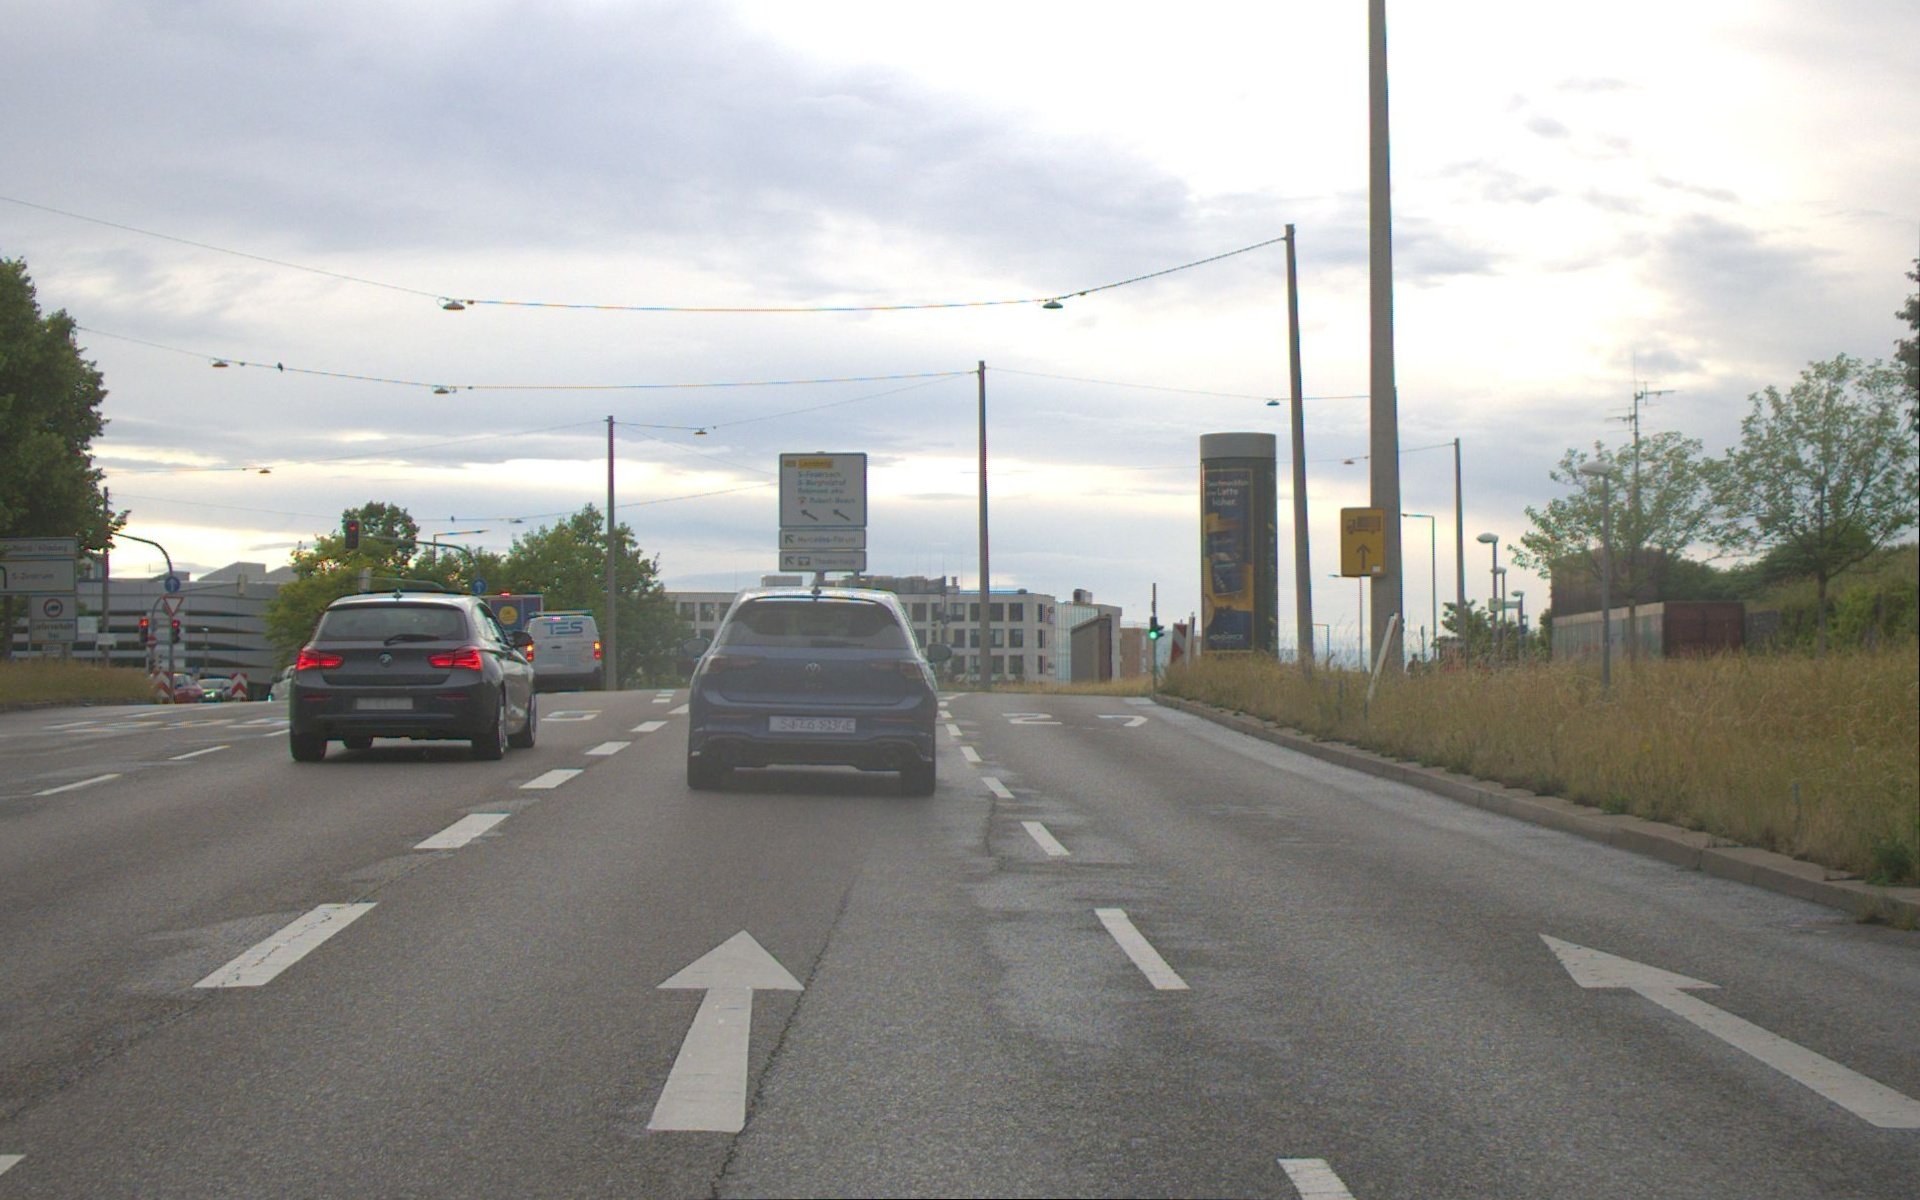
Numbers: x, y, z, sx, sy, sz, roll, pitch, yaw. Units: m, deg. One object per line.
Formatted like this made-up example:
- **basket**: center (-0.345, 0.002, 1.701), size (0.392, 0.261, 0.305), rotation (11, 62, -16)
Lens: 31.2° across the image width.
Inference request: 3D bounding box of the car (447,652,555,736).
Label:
- **car**: center (-9.771, 1.986, 73.392), size (1.722, 1.536, 3.704), rotation (2, 1, 0)

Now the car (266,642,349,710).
- **car**: center (-21.254, 2.451, 111.892), size (1.993, 2.007, 4.001), rotation (-2, 1, -20)

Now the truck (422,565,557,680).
- **truck**: center (-13.901, 0.704, 101.124), size (2.665, 3.209, 6.550), rotation (2, -1, -19)

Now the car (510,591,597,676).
- **car**: center (-10.063, 0.864, 84.809), size (1.904, 1.966, 5.093), rotation (-1, -2, -9)

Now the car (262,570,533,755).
- **car**: center (-4.863, 0.498, 30.197), size (1.869, 1.456, 3.977), rotation (0, 1, -2)

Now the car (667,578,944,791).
- **car**: center (-1.065, 0.583, 25.327), size (1.838, 1.389, 4.000), rotation (2, 0, 0)
